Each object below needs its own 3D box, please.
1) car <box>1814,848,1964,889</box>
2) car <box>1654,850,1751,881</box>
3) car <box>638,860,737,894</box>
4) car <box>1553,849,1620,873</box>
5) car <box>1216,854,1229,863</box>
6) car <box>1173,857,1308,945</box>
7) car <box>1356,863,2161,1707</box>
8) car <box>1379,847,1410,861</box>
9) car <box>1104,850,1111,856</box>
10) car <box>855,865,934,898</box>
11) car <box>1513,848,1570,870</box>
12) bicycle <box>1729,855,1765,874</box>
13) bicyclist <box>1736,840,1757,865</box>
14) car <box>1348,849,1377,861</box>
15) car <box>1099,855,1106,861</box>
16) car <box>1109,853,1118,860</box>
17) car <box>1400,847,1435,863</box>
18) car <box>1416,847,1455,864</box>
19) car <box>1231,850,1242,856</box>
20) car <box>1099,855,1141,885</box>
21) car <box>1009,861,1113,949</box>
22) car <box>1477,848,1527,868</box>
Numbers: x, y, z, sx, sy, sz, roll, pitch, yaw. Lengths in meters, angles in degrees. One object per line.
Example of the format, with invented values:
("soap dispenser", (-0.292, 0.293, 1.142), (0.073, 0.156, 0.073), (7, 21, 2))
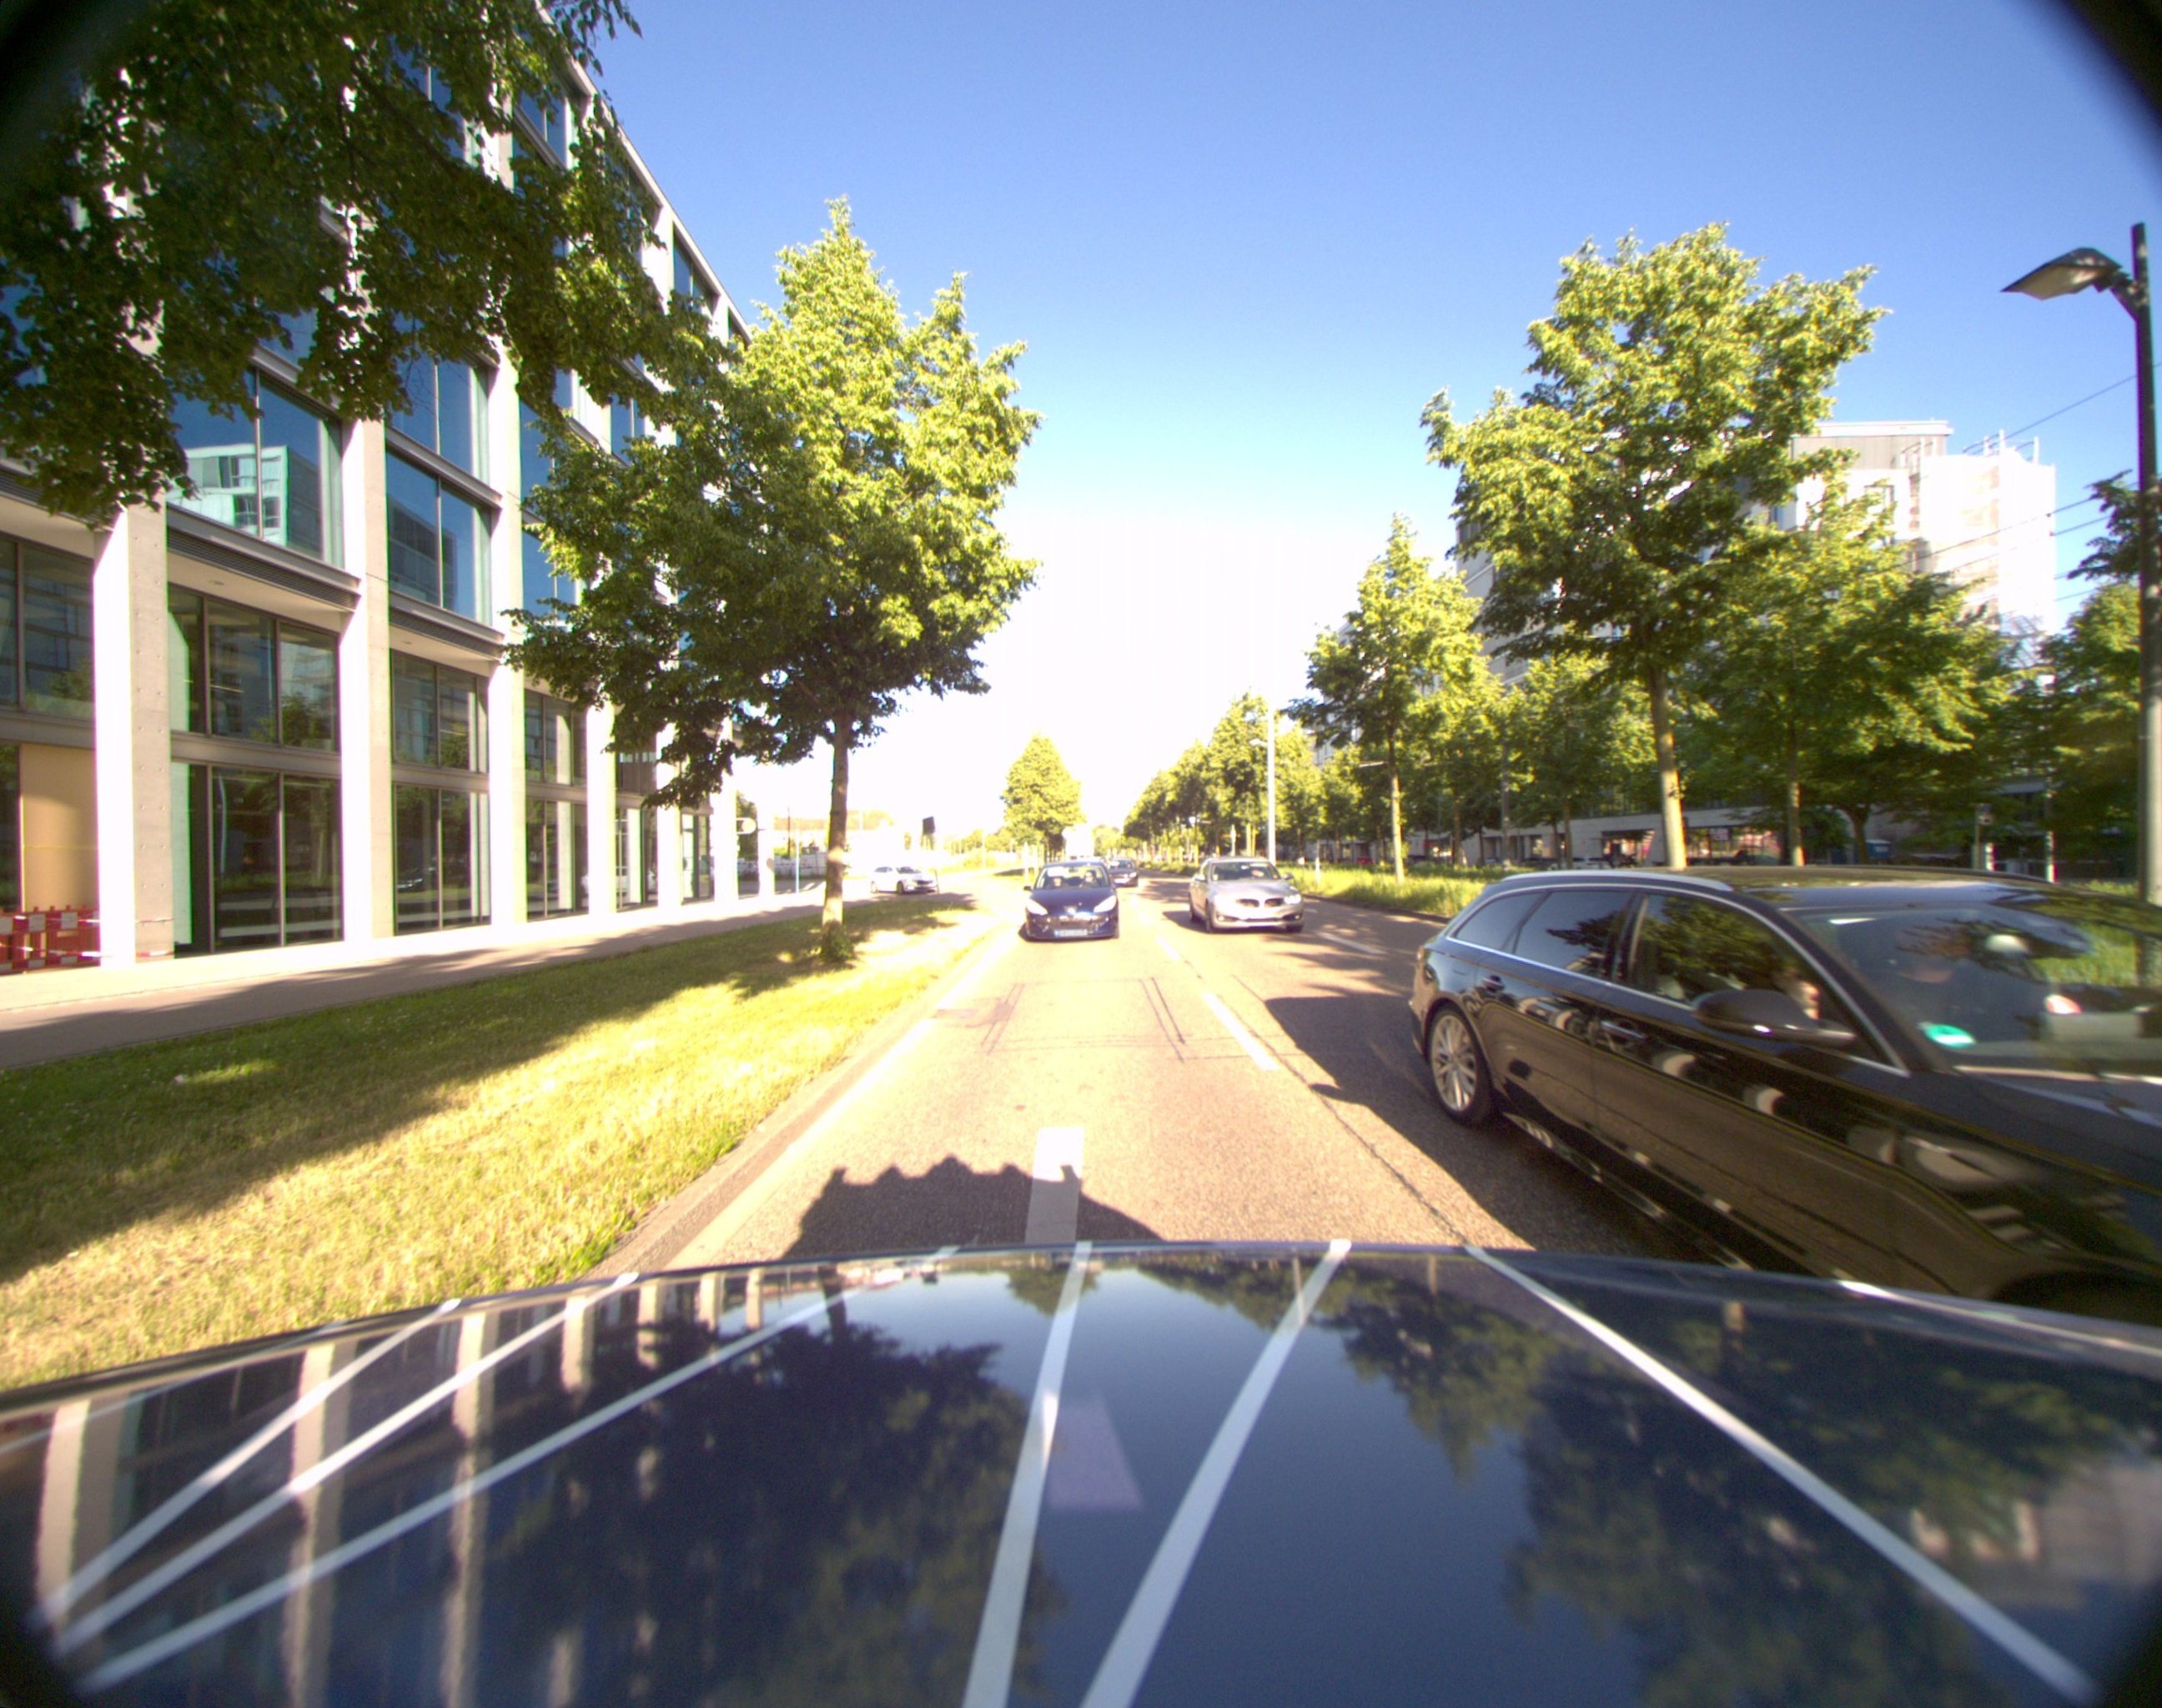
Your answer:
("car", (34.033, 0.586, 32.208), (1.951, 1.588, 4.183), (-1, 0, 1))
("car", (34.404, 0.599, 42.222), (1.951, 1.588, 4.183), (-1, 0, 1))
("car", (-20.104, 1.162, 38.957), (3.996, 1.569, 2.000), (-1, 1, 3))
("car", (34.833, 0.453, 52.542), (1.884, 1.588, 4.183), (-1, 0, 1))
("car", (27.450, 0.803, 147.513), (1.895, 1.671, 4.000), (-1, 0, 1))
("car", (3.115, 0.844, 15.791), (1.824, 1.476, 4.560), (-1, 0, 0))
("car", (2.774, 0.830, 2.534), (1.879, 1.476, 4.966), (-1, 0, 0))
("car", (35.403, 0.000, 85.878), (1.884, 1.588, 4.183), (-1, 0, 1))
("car", (7.869, -0.278, 225.253), (1.878, 1.577, 4.344), (-1, 0, 2))
("car", (-9.237, 1.312, 37.446), (1.808, 1.439, 4.555), (-2, 1, -42))
("car", (35.114, 0.367, 58.086), (1.884, 1.588, 4.183), (-1, 0, 1))
("bicycle", (37.373, 0.562, 42.642), (0.478, 1.029, 1.756), (-1, 1, 1))
("bicyclist", (37.362, -0.087, 42.654), (0.478, 1.416, 0.820), (-1, 1, 1))
("car", (35.604, 0.113, 96.206), (1.999, 1.387, 3.999), (-1, 0, -2))
("car", (5.449, 0.989, 192.373), (1.724, 1.516, 4.000), (-1, 0, 1))
("car", (7.161, 0.589, 167.392), (1.878, 1.415, 4.344), (-1, 0, 2))
("car", (35.350, 0.078, 79.957), (1.884, 1.588, 4.183), (-1, 0, 1))
("car", (34.942, 0.163, 75.049), (1.884, 1.588, 4.183), (-1, 0, 1))
("car", (35.938, -0.291, 176.081), (1.998, 1.387, 4.001), (-1, 0, 4))
("car", (2.009, 0.810, 40.024), (1.998, 1.437, 4.622), (-1, 0, 1))
("car", (-0.342, 0.943, 15.977), (1.846, 1.473, 4.481), (-1, 0, 1))
("car", (35.076, 0.303, 63.369), (1.884, 1.588, 4.183), (-1, 0, 1))
